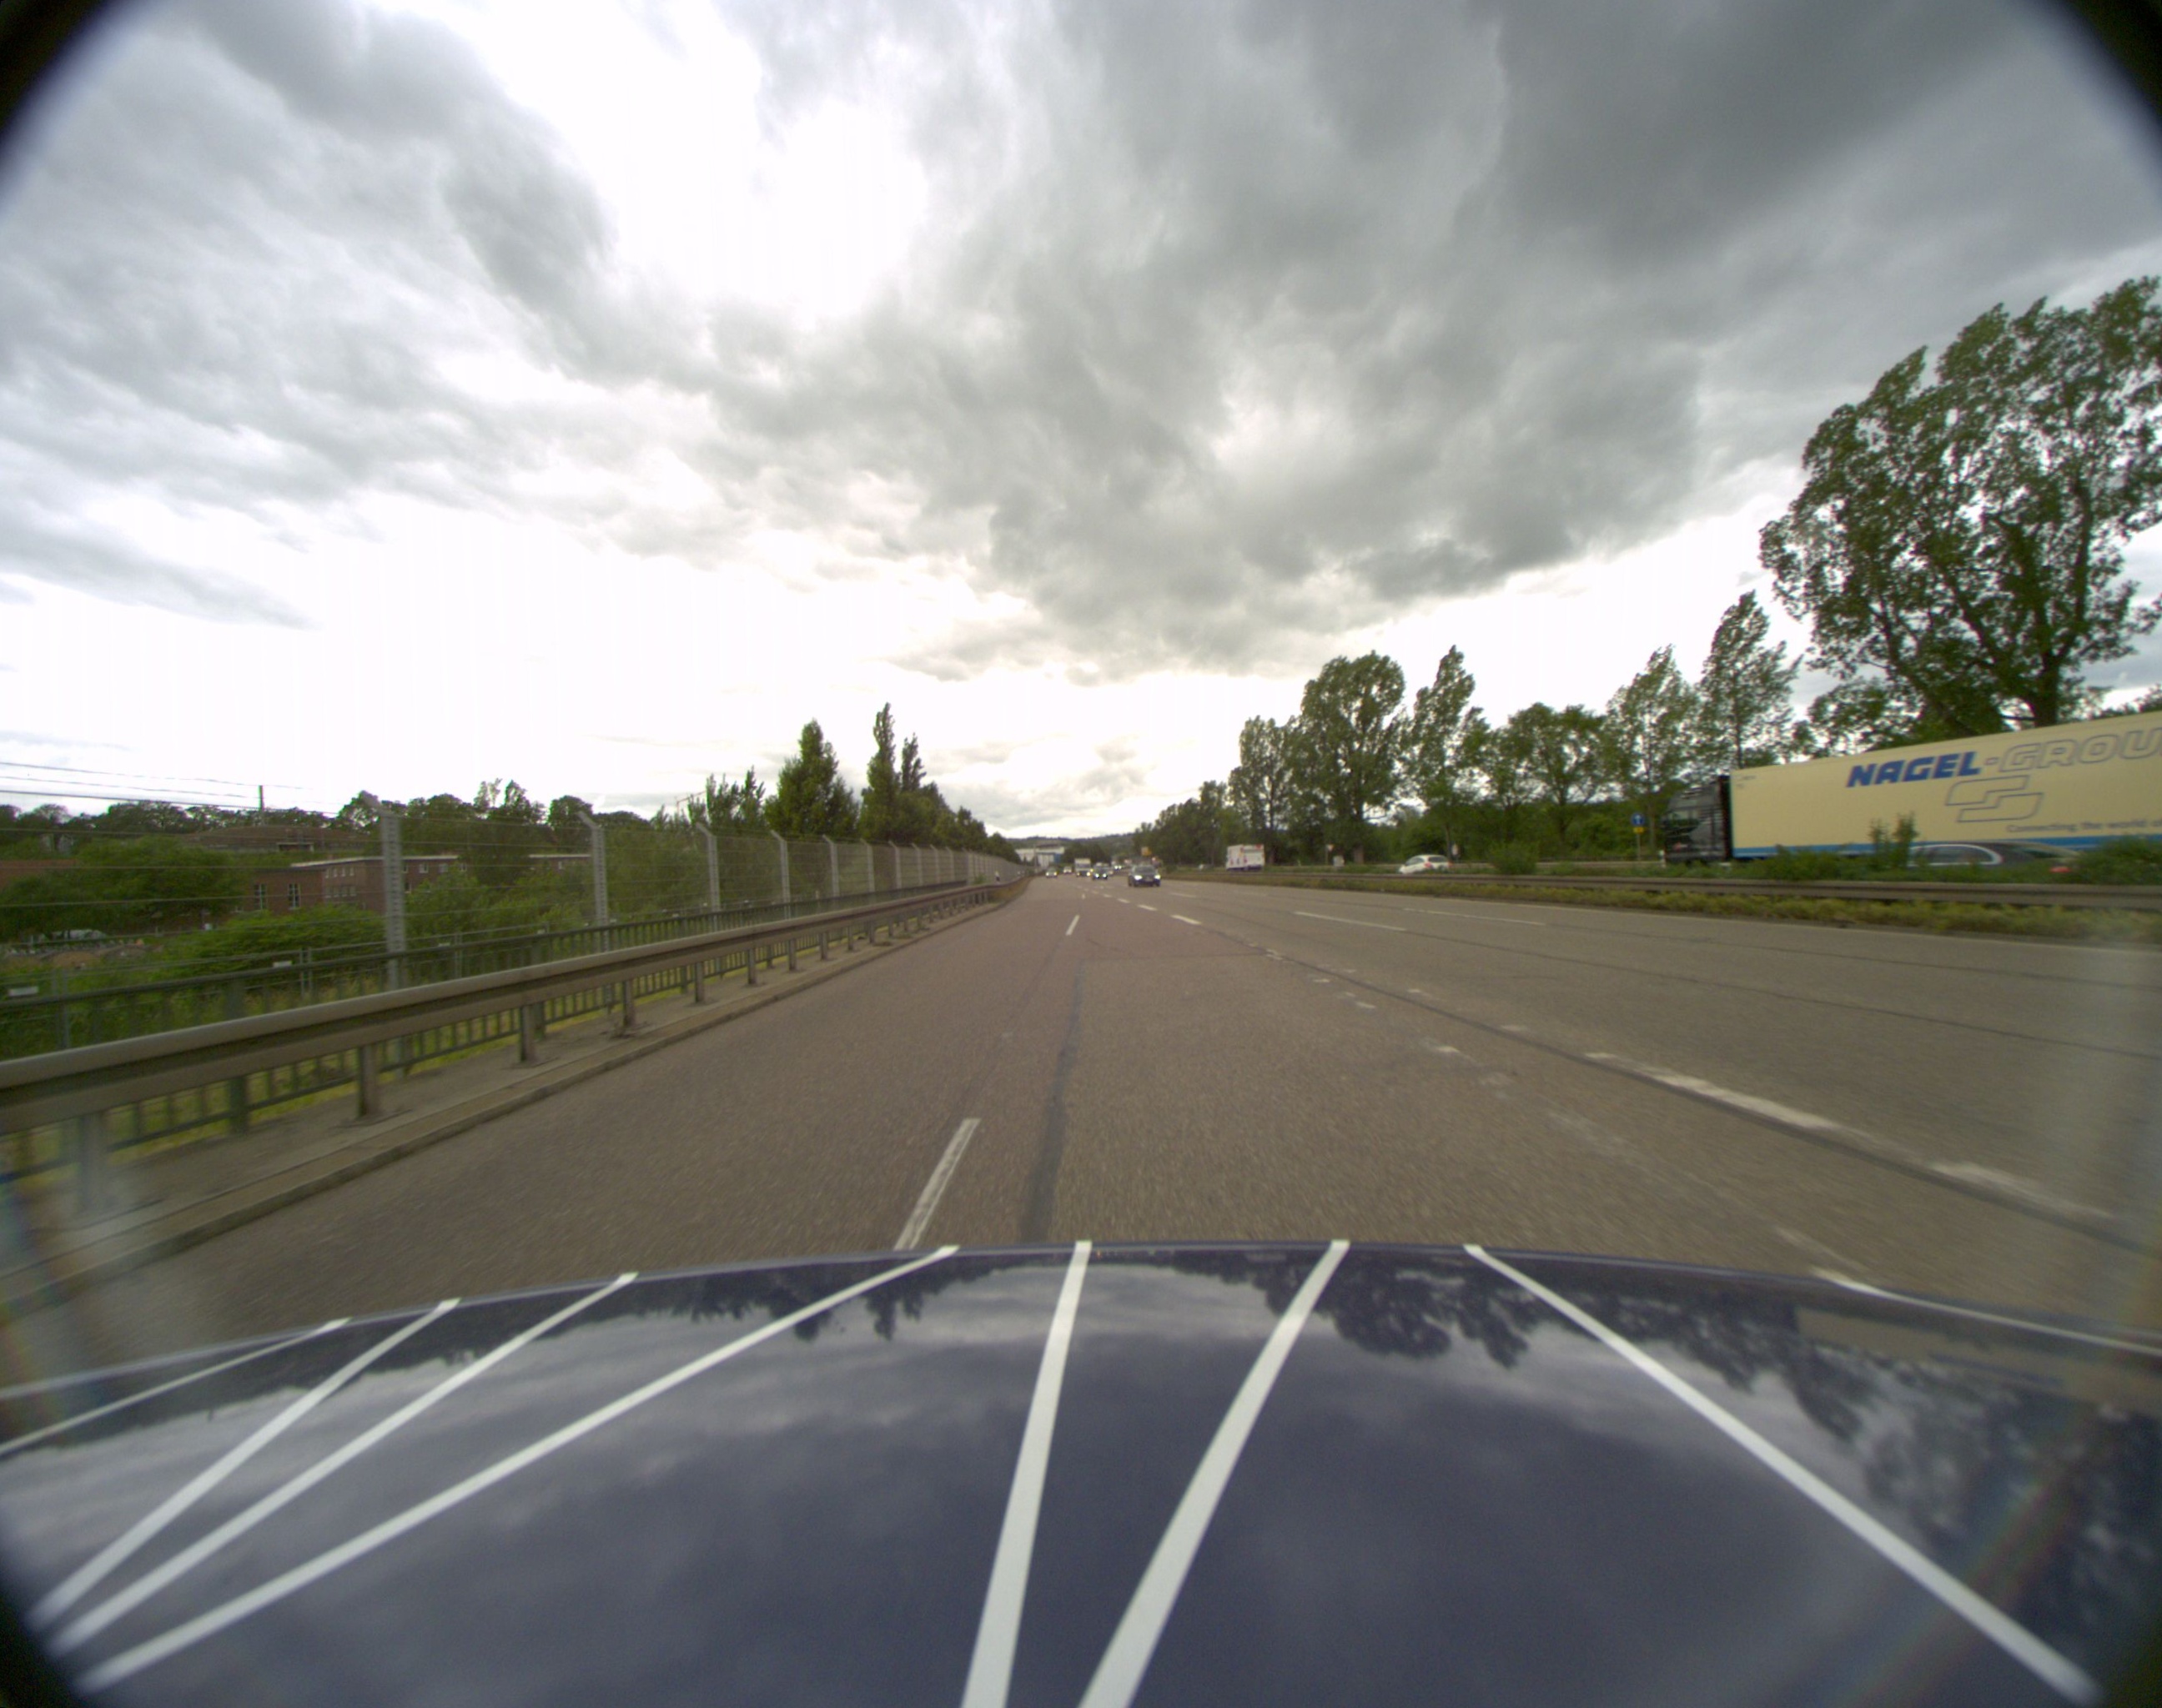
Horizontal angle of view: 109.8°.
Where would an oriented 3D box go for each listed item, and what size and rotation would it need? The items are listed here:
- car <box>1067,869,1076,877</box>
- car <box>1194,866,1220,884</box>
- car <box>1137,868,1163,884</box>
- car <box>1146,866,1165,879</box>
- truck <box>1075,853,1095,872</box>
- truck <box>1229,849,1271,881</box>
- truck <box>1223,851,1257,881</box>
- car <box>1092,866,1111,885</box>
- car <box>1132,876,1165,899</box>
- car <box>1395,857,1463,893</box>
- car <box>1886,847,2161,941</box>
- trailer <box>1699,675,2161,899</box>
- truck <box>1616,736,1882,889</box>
[{"bbox_3d":[-2.412,4.698,189.438,1.999,2.001,4.000,-2,-1,-2],"label":"car"},{"bbox_3d":[15.431,2.578,93.238,2.000,2.001,3.998,-4,-1,-7],"label":"car"},{"bbox_3d":[6.939,2.236,76.660,1.860,1.491,3.999,-2,-1,-5],"label":"car"},{"bbox_3d":[11.354,2.847,116.503,1.851,1.720,5.524,-4,-1,-5],"label":"car"},{"bbox_3d":[0.627,1.446,133.955,3.040,3.140,7.567,-2,0,-3],"label":"truck"},{"bbox_3d":[21.258,1.443,96.048,2.992,3.621,6.334,-4,-1,-8],"label":"truck"},{"bbox_3d":[20.776,1.551,99.680,2.993,3.621,3.998,-4,-1,-8],"label":"truck"},{"bbox_3d":[2.397,2.516,89.349,1.998,2.001,4.001,-4,-2,1],"label":"car"},{"bbox_3d":[4.609,2.268,52.168,1.940,1.491,4.305,-1,-2,1],"label":"car"},{"bbox_3d":[18.735,1.138,41.091,1.784,1.796,3.571,-2,-1,-4],"label":"car"},{"bbox_3d":[17.880,0.648,13.880,1.999,1.445,4.000,-2,-1,-1],"label":"car"},{"bbox_3d":[23.839,-1.406,18.997,3.474,4.645,14.778,-3,-1,-5],"label":"trailer"},{"bbox_3d":[23.128,-1.248,26.888,3.474,4.645,6.209,-3,-1,-5],"label":"truck"}]
